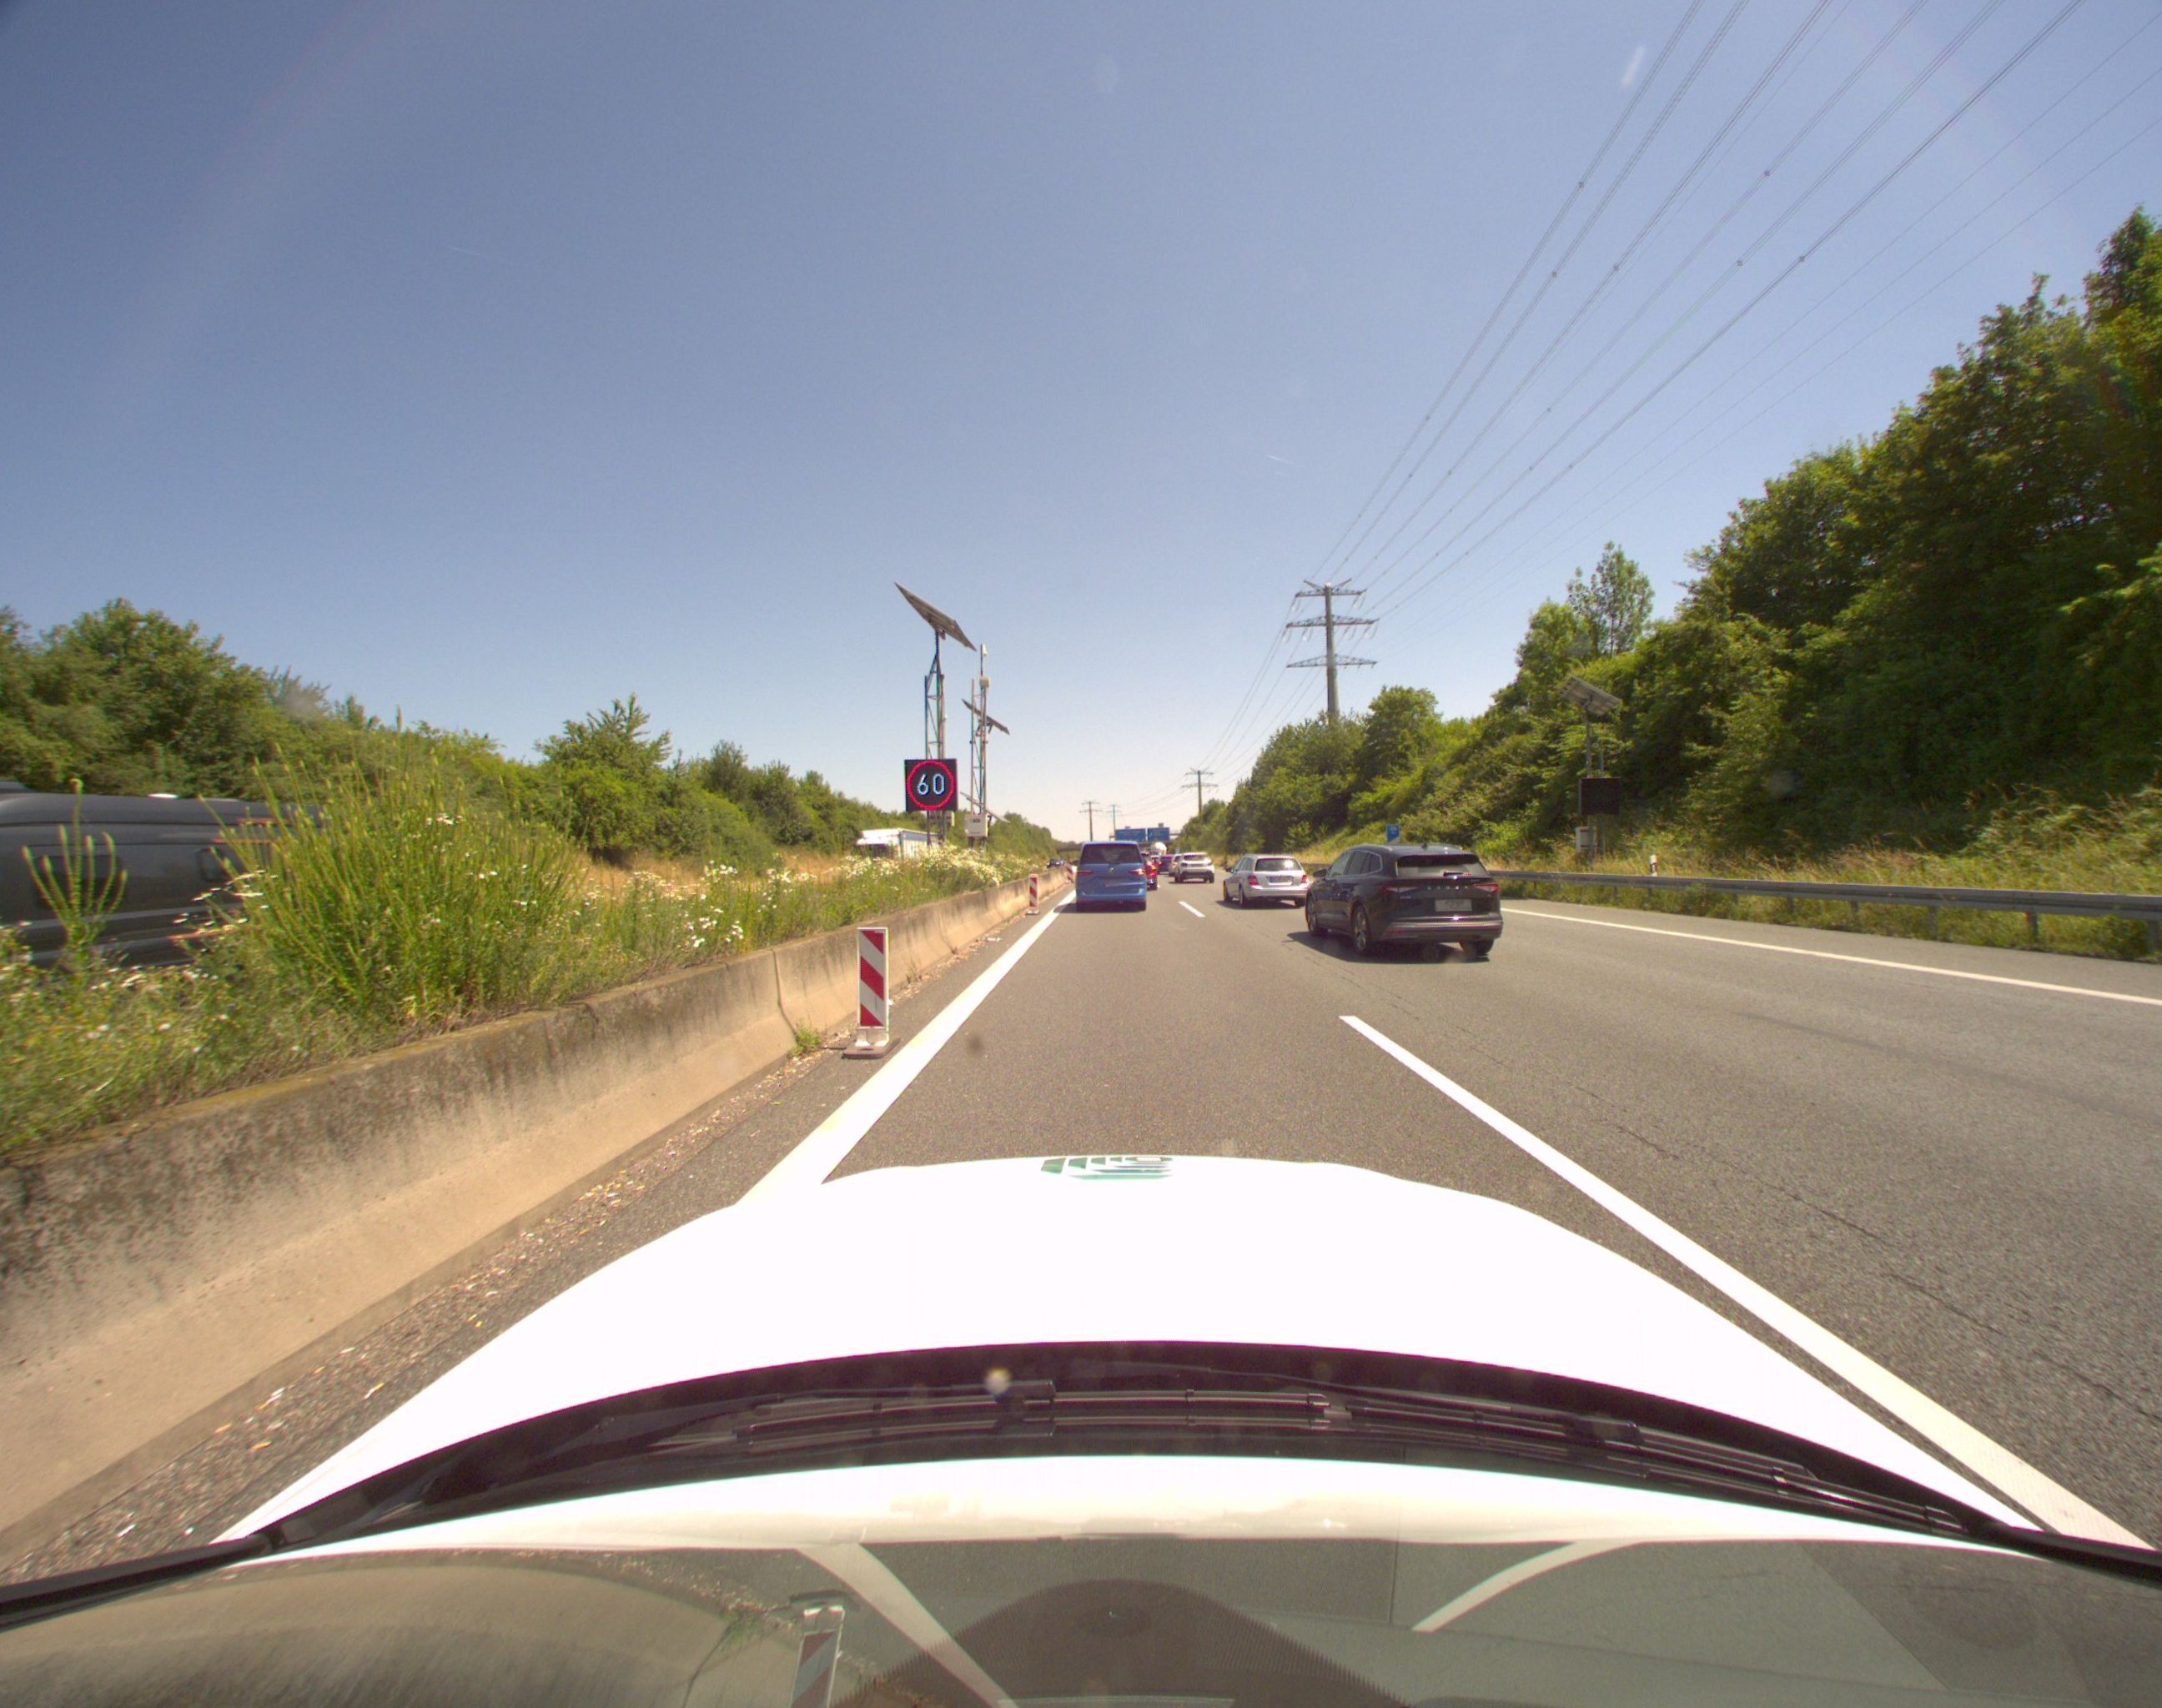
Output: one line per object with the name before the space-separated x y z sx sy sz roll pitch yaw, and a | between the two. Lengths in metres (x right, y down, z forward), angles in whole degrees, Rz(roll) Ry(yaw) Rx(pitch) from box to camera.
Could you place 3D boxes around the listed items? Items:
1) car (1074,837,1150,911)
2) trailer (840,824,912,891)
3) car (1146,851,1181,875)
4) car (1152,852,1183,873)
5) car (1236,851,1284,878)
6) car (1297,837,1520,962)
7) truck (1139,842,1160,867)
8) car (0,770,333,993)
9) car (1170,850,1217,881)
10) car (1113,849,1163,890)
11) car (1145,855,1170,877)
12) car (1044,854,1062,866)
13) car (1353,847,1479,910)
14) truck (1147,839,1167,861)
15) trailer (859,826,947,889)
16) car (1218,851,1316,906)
car | 0.784 0.515 23.107 1.866 1.879 4.381 0 0 -2
trailer | -13.413 0.221 53.705 2.949 4.057 5.436 -3 0 2
car | 5.455 0.600 54.328 1.902 1.516 4.383 0 0 0
car | 6.450 0.630 61.195 1.902 1.516 4.383 0 0 0
car | 9.768 0.546 44.666 1.729 1.378 4.302 0 0 0
car | 4.865 0.585 12.856 1.821 1.614 4.432 -1 0 1
truck | 7.644 0.017 91.142 1.986 2.723 5.681 0 0 1
car | -11.093 0.292 8.259 1.986 2.091 5.232 -2 0 2
car | 5.750 0.585 42.045 1.902 1.508 3.921 0 0 0
car | 2.399 0.612 35.209 1.902 1.631 4.384 -1 0 1
car | 6.910 1.063 74.042 1.986 2.013 4.002 0 0 2
car | -3.727 0.817 109.066 1.986 1.546 4.915 -2 0 2
car | 8.600 0.575 21.266 1.734 1.470 4.016 -1 0 2
truck | 14.439 -0.724 156.561 2.635 4.072 16.443 0 0 1
trailer | -13.121 0.215 61.710 2.949 4.056 13.603 -3 0 2
car | 5.219 0.640 23.430 1.815 1.437 4.383 0 0 0
